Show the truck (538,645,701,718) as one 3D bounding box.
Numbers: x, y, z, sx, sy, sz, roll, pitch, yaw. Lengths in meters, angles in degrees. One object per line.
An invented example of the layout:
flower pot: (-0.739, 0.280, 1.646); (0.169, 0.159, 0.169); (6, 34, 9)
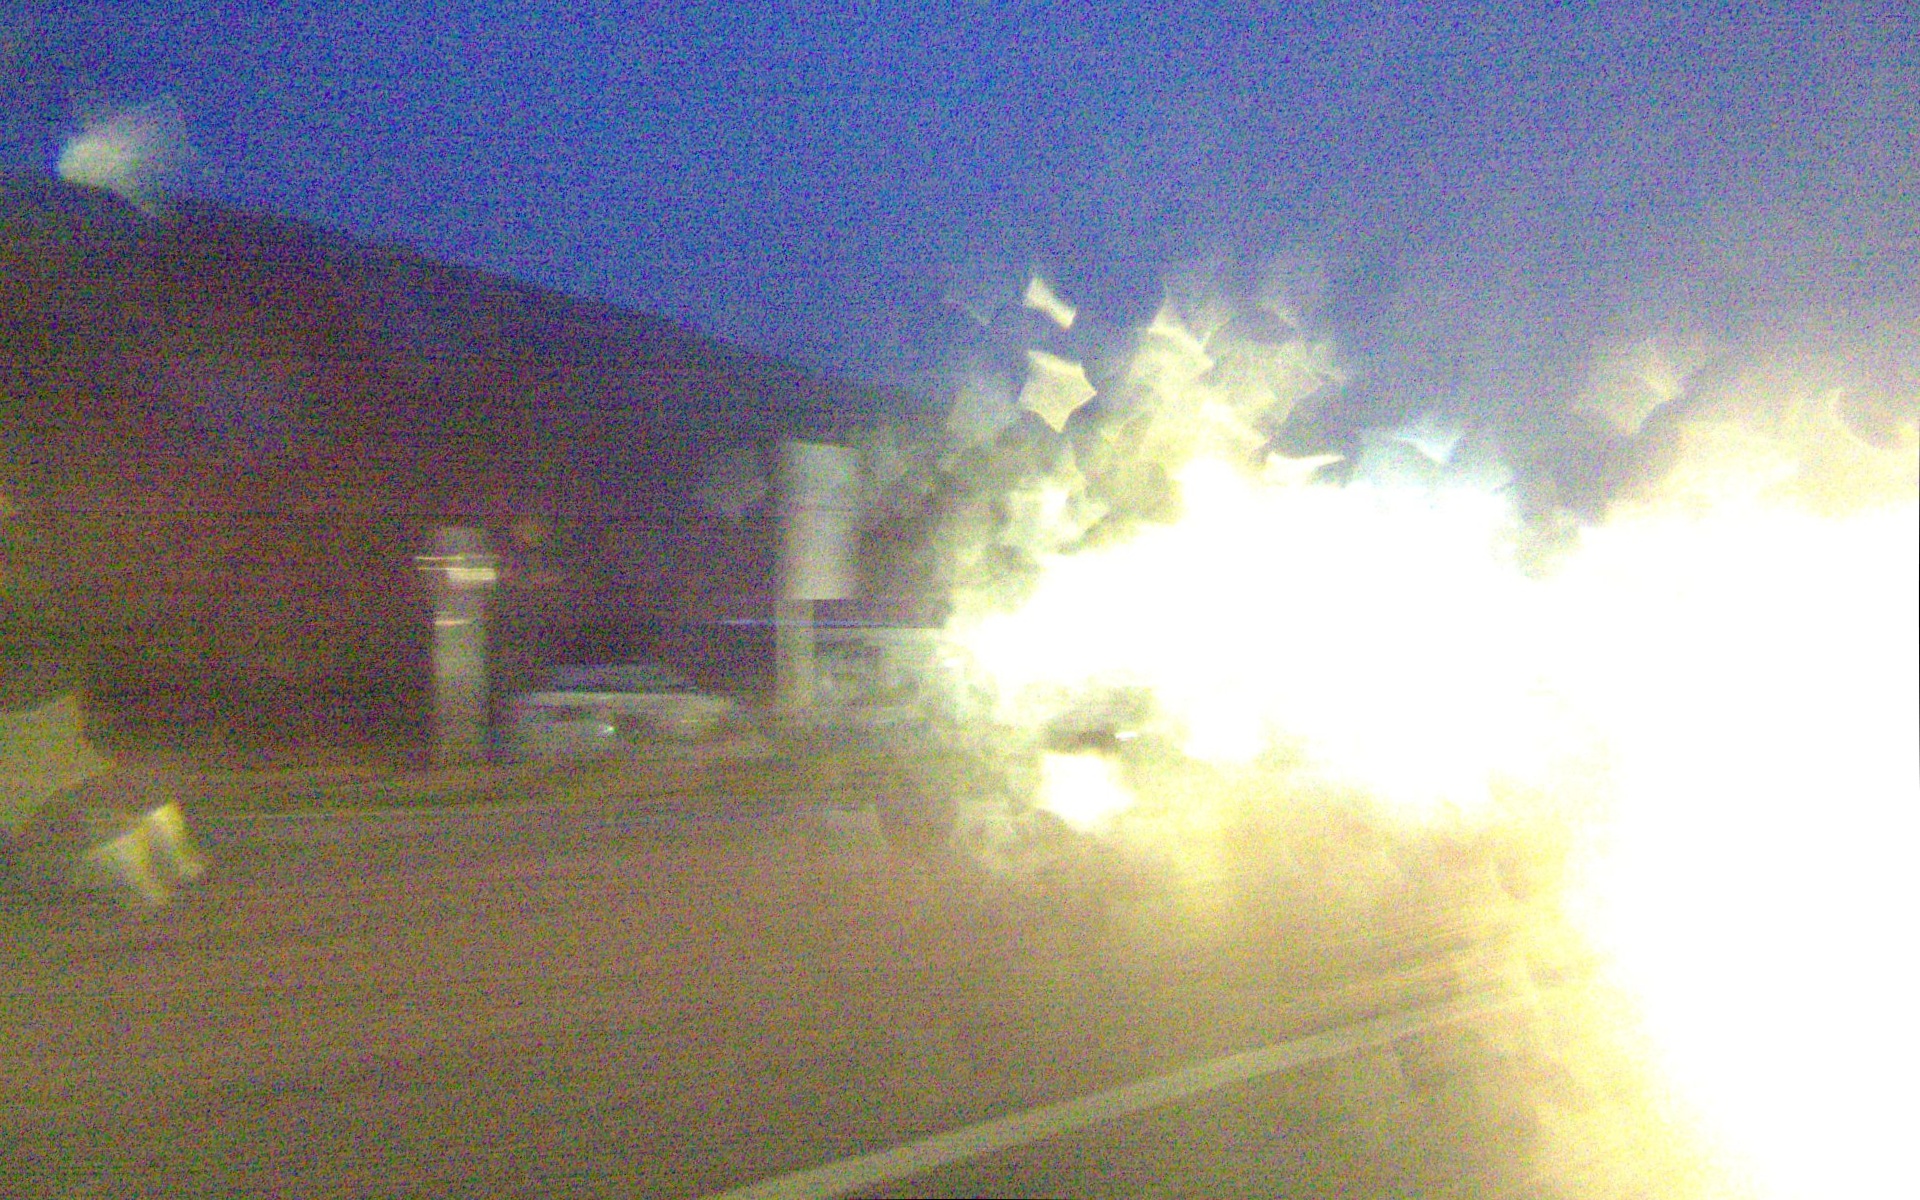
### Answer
truck: (-15.092, 3.651, 44.711); (6.611, 3.083, 2.161); (3, -6, -28)

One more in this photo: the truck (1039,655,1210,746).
truck: (6.879, 4.155, 41.740); (6.968, 3.523, 2.457); (3, -6, -29)

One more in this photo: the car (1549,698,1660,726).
car: (30.145, 5.250, 47.100); (1.822, 1.216, 3.979); (2, -7, -24)

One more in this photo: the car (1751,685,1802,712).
car: (50.240, 6.027, 61.891); (1.786, 1.587, 4.200); (-3, -6, 31)

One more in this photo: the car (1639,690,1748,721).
car: (36.942, 5.318, 50.687); (1.885, 1.473, 3.979); (2, -7, -24)

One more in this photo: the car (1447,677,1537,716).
car: (28.477, 5.133, 53.784); (3.939, 1.662, 1.991); (1, 0, 40)

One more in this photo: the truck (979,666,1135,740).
truck: (4.438, 4.656, 45.496); (6.971, 3.136, 2.424); (3, -7, -31)

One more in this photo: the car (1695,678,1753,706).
car: (45.386, 5.448, 59.619); (4.823, 1.587, 1.975); (4, -7, -44)

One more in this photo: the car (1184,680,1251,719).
car: (15.430, 5.922, 60.074); (3.959, 2.040, 1.722); (1, 0, -35)

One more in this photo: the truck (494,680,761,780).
truck: (-9.125, 3.542, 27.991); (6.770, 2.550, 2.165); (2, -6, -22)

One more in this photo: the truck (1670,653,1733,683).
truck: (66.750, 6.094, 90.432); (6.420, 2.495, 2.308); (2, -1, -32)

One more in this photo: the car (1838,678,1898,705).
car: (57.929, 5.809, 64.067); (3.471, 1.638, 1.739); (2, -5, -29)

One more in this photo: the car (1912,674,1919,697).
car: (68.038, 5.895, 69.565); (3.949, 1.616, 1.767); (2, -7, -27)

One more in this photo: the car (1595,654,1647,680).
car: (62.418, 6.299, 94.870); (4.395, 2.295, 1.989); (2, 0, -23)

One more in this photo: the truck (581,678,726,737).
truck: (-15.607, 5.450, 51.254); (6.784, 2.839, 2.161); (3, -6, -28)

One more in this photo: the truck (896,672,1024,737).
truck: (0.035, 5.519, 53.302); (6.491, 3.301, 2.424); (3, -7, -31)

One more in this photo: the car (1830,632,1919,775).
car: (11.254, 1.052, 10.563); (4.085, 1.372, 1.630); (1, -1, -24)

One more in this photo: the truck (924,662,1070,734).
truck: (1.844, 4.815, 49.331); (6.971, 3.301, 2.424); (3, -7, -31)

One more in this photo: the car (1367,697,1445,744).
car: (21.740, 5.823, 48.940); (3.683, 1.932, 1.707); (1, 0, -33)

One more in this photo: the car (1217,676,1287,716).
car: (16.683, 5.445, 57.398); (3.959, 2.040, 1.722); (1, 0, -35)

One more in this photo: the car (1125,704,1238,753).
car: (8.586, 4.936, 38.900); (4.237, 1.735, 1.713); (3, -7, -31)
